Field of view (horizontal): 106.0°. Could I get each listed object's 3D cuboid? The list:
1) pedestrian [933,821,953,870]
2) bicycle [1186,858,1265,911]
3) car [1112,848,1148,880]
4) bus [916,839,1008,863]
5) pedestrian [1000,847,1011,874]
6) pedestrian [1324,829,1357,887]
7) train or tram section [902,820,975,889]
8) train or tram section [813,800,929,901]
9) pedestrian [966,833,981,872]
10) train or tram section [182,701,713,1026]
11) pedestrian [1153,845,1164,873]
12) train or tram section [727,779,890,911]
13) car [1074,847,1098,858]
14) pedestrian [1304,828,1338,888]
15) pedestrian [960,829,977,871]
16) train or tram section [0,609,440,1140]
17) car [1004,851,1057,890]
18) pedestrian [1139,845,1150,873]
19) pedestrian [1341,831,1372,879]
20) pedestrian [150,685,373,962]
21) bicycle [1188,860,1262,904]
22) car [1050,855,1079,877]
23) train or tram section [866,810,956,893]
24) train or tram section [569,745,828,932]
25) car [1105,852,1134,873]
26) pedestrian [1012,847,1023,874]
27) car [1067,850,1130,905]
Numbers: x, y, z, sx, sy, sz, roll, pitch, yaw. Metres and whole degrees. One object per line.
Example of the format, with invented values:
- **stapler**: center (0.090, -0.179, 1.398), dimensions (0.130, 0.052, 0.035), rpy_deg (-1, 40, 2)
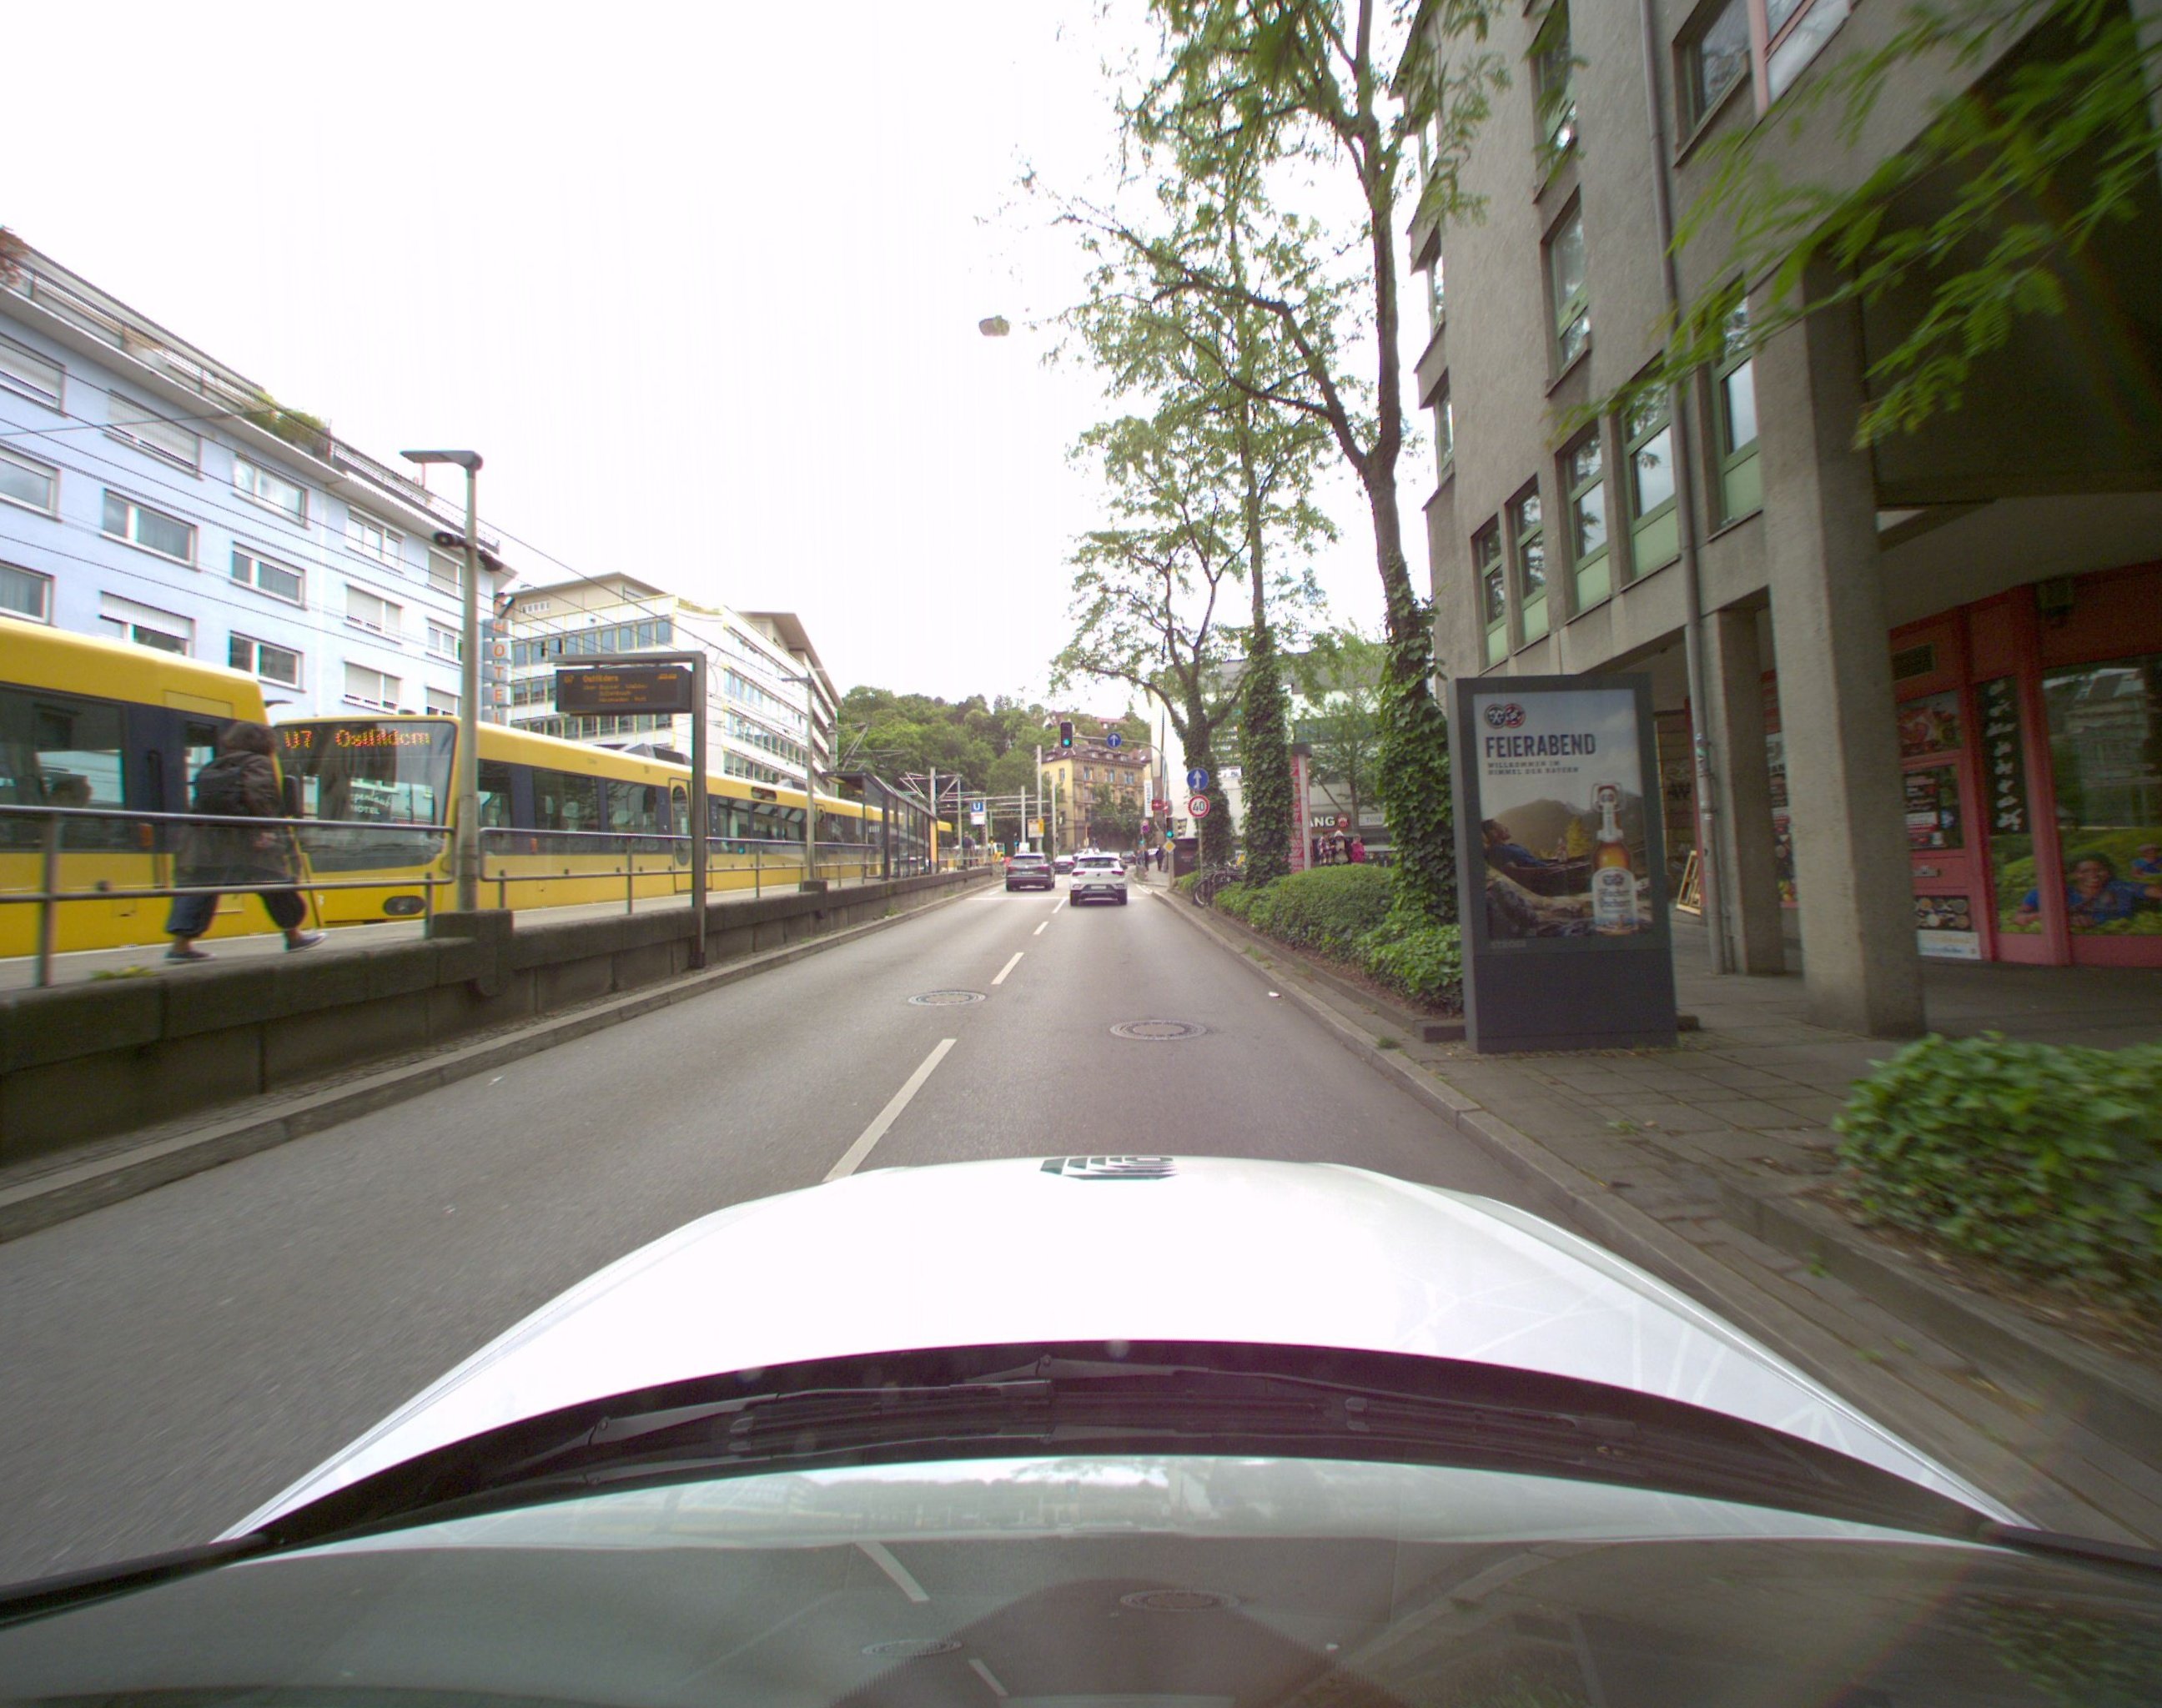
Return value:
- **pedestrian**: center (-5.837, -0.344, 34.366), dimensions (0.761, 2.014, 0.837), rpy_deg (0, -2, -5)
- **bicycle**: center (3.563, 0.764, 20.089), dimensions (1.868, 1.266, 0.767), rpy_deg (-1, -2, 13)
- **car**: center (2.724, 0.605, 45.926), dimensions (1.877, 1.684, 4.162), rpy_deg (0, -2, 2)
- **bus**: center (-17.164, -0.335, 116.973), dimensions (13.162, 3.065, 3.401), rpy_deg (-1, -2, 24)
- **pedestrian**: center (-5.640, 0.472, 61.014), dimensions (0.759, 2.014, 0.838), rpy_deg (0, -2, 2)
- **pedestrian**: center (7.209, 0.119, 22.667), dimensions (0.637, 1.608, 0.584), rpy_deg (0, -2, -18)
- **train or tram section**: center (-7.956, 0.075, 46.433), dimensions (2.803, 3.666, 6.752), rpy_deg (0, -1, 1)
- **train or tram section**: center (-8.250, -0.087, 32.912), dimensions (2.803, 3.666, 6.752), rpy_deg (0, -1, 1)
- **pedestrian**: center (-5.732, -0.067, 43.452), dimensions (0.761, 2.014, 0.837), rpy_deg (0, -2, -5)
- **train or tram section**: center (-8.709, 0.148, 12.623), dimensions (2.803, 3.666, 6.752), rpy_deg (0, -1, 1)
- **pedestrian**: center (5.694, 0.358, 59.986), dimensions (0.758, 2.014, 0.840), rpy_deg (-1, -2, 7)
- **train or tram section**: center (-8.398, -0.202, 26.137), dimensions (2.803, 3.666, 6.752), rpy_deg (0, -1, 1)
- **car**: center (0.781, -0.295, 129.553), dimensions (1.893, 1.689, 4.025), rpy_deg (0, 0, 36)
- **pedestrian**: center (6.609, 0.120, 22.442), dimensions (0.637, 1.615, 0.584), rpy_deg (0, -2, -18)
- **pedestrian**: center (-5.475, -0.181, 39.778), dimensions (0.761, 2.014, 0.837), rpy_deg (0, -2, -5)
- **train or tram section**: center (-8.858, 0.152, 5.913), dimensions (2.801, 3.666, 6.755), rpy_deg (0, -1, 3)
- **car**: center (-2.186, 0.705, 36.463), dimensions (1.986, 1.636, 4.001), rpy_deg (-1, 0, 1)
- **pedestrian**: center (4.701, 0.375, 60.561), dimensions (0.758, 2.014, 0.840), rpy_deg (-1, -2, 7)
- **pedestrian**: center (8.101, 0.033, 23.940), dimensions (0.637, 1.369, 0.584), rpy_deg (0, -2, -18)
- **pedestrian**: center (-5.640, -0.197, 5.661), dimensions (0.624, 1.762, 0.847), rpy_deg (-2, 0, 2)
- **bicycle**: center (3.796, 0.750, 21.576), dimensions (1.870, 1.137, 0.810), rpy_deg (-1, -2, 8)
- **car**: center (-1.267, 0.946, 64.235), dimensions (1.903, 1.689, 4.005), rpy_deg (0, 0, 4)
- **train or tram section**: center (-8.092, -0.056, 39.664), dimensions (2.803, 3.666, 6.752), rpy_deg (0, -1, 1)
- **train or tram section**: center (-8.564, -0.259, 19.377), dimensions (2.803, 3.666, 6.752), rpy_deg (0, -1, 1)
- **car**: center (3.177, 0.727, 68.064), dimensions (1.881, 1.684, 4.154), rpy_deg (0, -2, -4)
- **pedestrian**: center (-4.794, 0.482, 61.495), dimensions (0.759, 2.014, 0.839), rpy_deg (0, -2, 2)
- **car**: center (0.644, 0.721, 26.299), dimensions (1.830, 1.584, 4.160), rpy_deg (-2, -1, 3)
